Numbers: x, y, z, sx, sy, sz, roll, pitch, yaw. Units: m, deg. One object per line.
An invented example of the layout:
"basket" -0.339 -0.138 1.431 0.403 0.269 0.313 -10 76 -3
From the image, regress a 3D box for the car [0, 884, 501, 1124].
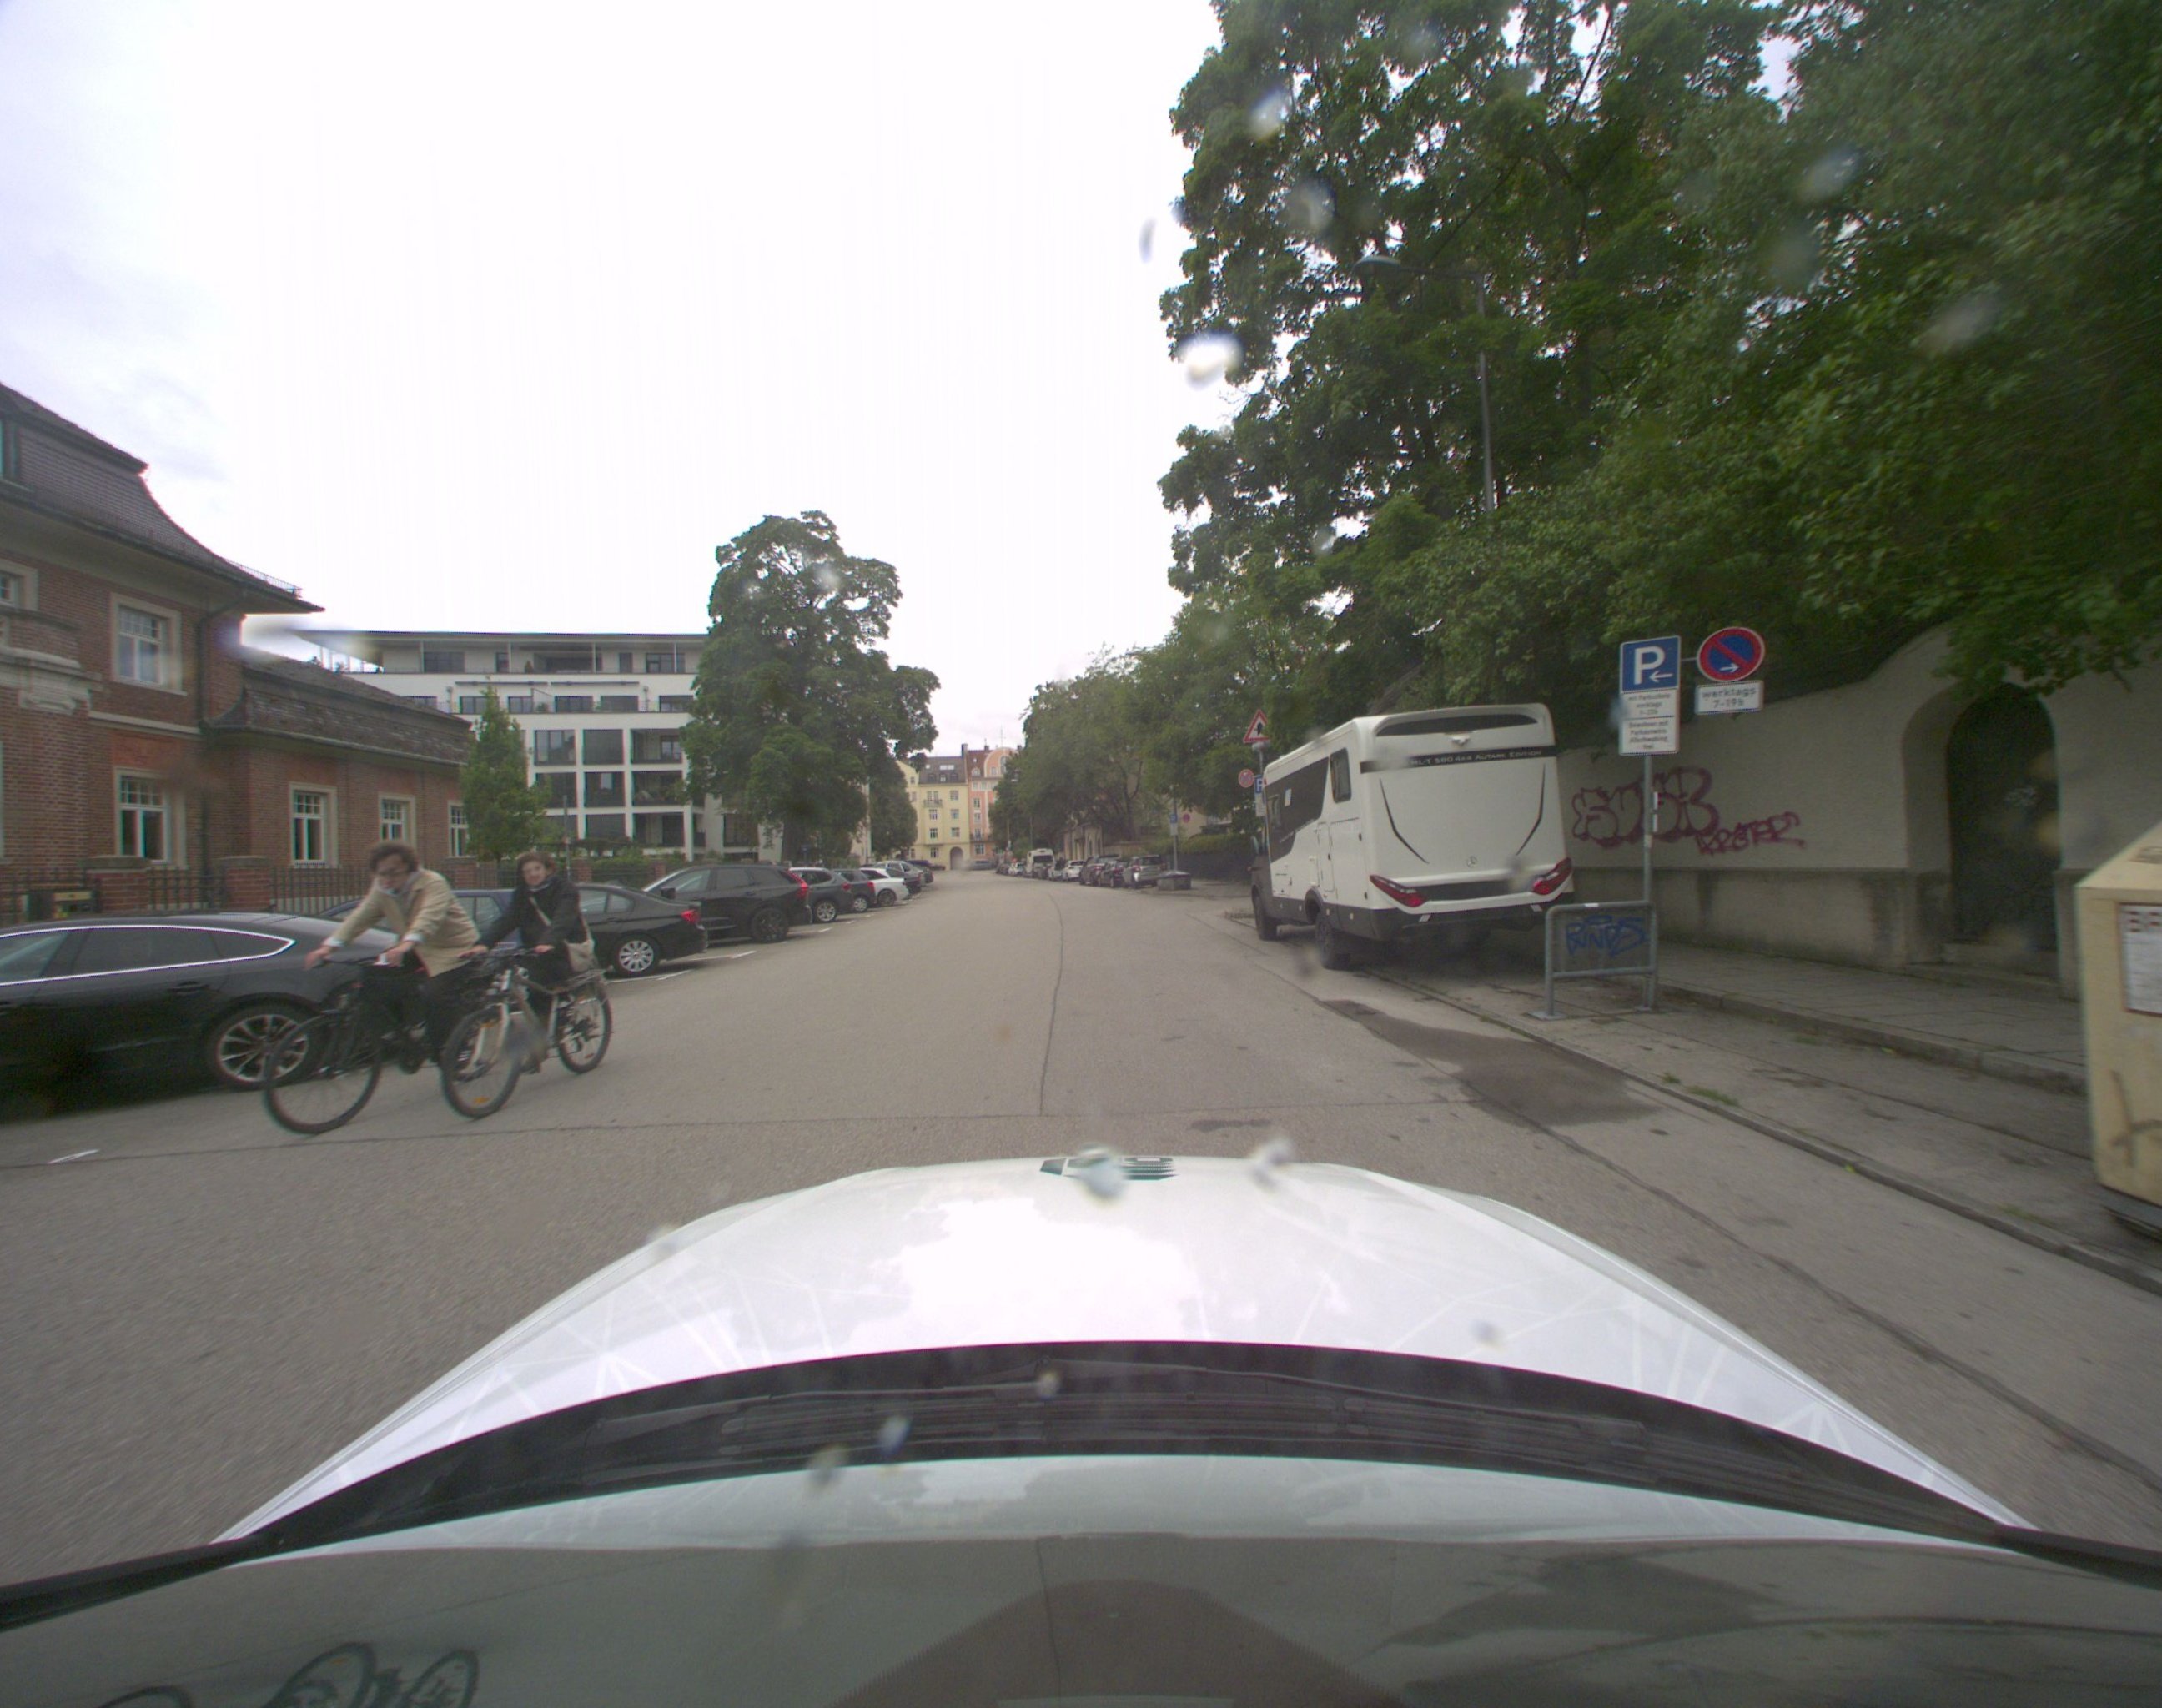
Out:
"car" -7.666 1.138 6.581 4.538 1.451 1.960 -3 0 -28

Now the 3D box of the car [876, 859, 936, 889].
"car" -13.893 1.587 64.801 4.239 2.066 1.717 -3 0 -39

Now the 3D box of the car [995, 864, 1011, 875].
"car" -10.604 2.113 110.926 1.672 1.344 3.821 -3 1 -13

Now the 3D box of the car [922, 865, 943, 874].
"car" -29.330 2.983 160.838 3.986 1.586 1.698 -2 -1 -9

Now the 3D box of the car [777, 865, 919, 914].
"car" -8.384 1.244 29.469 4.535 1.451 1.876 -3 -1 -34

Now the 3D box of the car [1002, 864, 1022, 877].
"car" -8.534 2.018 100.810 1.805 1.466 3.820 -3 1 -14

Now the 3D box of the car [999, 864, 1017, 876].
"car" -9.525 2.055 106.138 1.672 1.344 3.821 -3 1 -13

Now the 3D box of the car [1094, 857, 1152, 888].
"car" 2.108 0.957 42.365 1.879 1.427 4.203 -4 0 -13

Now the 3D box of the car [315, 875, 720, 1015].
"car" -7.950 1.185 12.060 4.541 1.418 1.909 -4 0 -30

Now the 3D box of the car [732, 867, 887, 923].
"car" -8.670 1.267 26.117 4.411 1.451 1.640 -3 0 -31

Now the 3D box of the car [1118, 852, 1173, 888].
"car" 2.988 0.772 38.336 1.741 1.536 2.933 -4 -1 -13

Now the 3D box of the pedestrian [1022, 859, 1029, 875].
"pedestrian" -7.102 1.617 103.510 0.773 2.014 0.560 -2 -1 -12

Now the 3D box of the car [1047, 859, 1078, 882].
"car" -1.413 1.226 61.345 1.707 1.537 4.226 -4 0 -9

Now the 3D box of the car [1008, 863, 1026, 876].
"car" -7.625 1.819 96.632 1.707 1.466 3.825 -4 0 -9

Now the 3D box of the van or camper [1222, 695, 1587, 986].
"van or camper" 3.976 -0.125 12.031 2.266 2.906 7.272 -2 0 -1

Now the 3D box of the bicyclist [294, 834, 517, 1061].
"bicyclist" -4.569 0.588 5.586 0.694 1.397 0.930 -2 -1 1

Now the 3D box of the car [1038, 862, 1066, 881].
"car" -2.441 1.433 67.023 1.707 1.369 4.425 -4 0 -10

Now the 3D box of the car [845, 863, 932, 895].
"car" -11.046 1.432 46.787 4.428 1.621 2.065 -2 -1 -32

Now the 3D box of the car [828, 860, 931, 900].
"car" -9.974 1.270 40.501 4.437 1.699 2.111 -2 -1 -43

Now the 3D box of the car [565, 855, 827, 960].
"car" -7.797 1.005 16.712 4.541 1.665 1.968 -3 -1 -30

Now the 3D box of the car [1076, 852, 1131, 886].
"car" 1.227 0.872 46.909 1.996 1.711 4.863 -4 0 -13

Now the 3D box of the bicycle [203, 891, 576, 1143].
"bicycle" -4.556 0.964 5.649 0.704 1.305 2.119 -2 0 1

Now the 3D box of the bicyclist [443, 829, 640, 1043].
"bicyclist" -3.734 0.528 5.719 0.694 1.352 0.930 -2 -1 1

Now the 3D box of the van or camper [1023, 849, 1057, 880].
"van or camper" -3.725 0.972 73.752 2.193 2.550 5.707 -4 0 -11

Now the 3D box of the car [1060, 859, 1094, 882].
"car" -0.328 1.176 56.338 1.685 1.441 3.987 -3 -1 -9

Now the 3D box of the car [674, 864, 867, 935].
"car" -8.337 1.158 22.000 4.543 1.567 1.870 -2 -1 -32

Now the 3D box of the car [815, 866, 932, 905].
"car" -8.843 1.330 34.952 4.436 1.439 1.942 -2 -1 -41

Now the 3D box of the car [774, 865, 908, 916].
"car" -9.296 1.374 31.682 4.536 1.509 1.911 -5 0 -34

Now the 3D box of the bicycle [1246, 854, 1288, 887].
"bicycle" 7.008 0.618 30.797 0.806 1.162 1.966 -2 0 -10

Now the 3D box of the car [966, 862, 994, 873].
"car" -17.392 2.314 140.261 4.707 1.881 1.832 -2 -1 -12

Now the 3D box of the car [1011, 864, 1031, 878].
"car" -6.815 1.923 91.771 1.708 1.408 4.114 -4 0 -11

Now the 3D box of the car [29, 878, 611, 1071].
"car" -8.088 1.168 9.392 4.541 1.451 1.802 -4 0 -30

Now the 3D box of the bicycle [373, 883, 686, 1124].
"bicycle" -3.739 0.911 5.815 0.704 1.305 2.119 -2 0 1
